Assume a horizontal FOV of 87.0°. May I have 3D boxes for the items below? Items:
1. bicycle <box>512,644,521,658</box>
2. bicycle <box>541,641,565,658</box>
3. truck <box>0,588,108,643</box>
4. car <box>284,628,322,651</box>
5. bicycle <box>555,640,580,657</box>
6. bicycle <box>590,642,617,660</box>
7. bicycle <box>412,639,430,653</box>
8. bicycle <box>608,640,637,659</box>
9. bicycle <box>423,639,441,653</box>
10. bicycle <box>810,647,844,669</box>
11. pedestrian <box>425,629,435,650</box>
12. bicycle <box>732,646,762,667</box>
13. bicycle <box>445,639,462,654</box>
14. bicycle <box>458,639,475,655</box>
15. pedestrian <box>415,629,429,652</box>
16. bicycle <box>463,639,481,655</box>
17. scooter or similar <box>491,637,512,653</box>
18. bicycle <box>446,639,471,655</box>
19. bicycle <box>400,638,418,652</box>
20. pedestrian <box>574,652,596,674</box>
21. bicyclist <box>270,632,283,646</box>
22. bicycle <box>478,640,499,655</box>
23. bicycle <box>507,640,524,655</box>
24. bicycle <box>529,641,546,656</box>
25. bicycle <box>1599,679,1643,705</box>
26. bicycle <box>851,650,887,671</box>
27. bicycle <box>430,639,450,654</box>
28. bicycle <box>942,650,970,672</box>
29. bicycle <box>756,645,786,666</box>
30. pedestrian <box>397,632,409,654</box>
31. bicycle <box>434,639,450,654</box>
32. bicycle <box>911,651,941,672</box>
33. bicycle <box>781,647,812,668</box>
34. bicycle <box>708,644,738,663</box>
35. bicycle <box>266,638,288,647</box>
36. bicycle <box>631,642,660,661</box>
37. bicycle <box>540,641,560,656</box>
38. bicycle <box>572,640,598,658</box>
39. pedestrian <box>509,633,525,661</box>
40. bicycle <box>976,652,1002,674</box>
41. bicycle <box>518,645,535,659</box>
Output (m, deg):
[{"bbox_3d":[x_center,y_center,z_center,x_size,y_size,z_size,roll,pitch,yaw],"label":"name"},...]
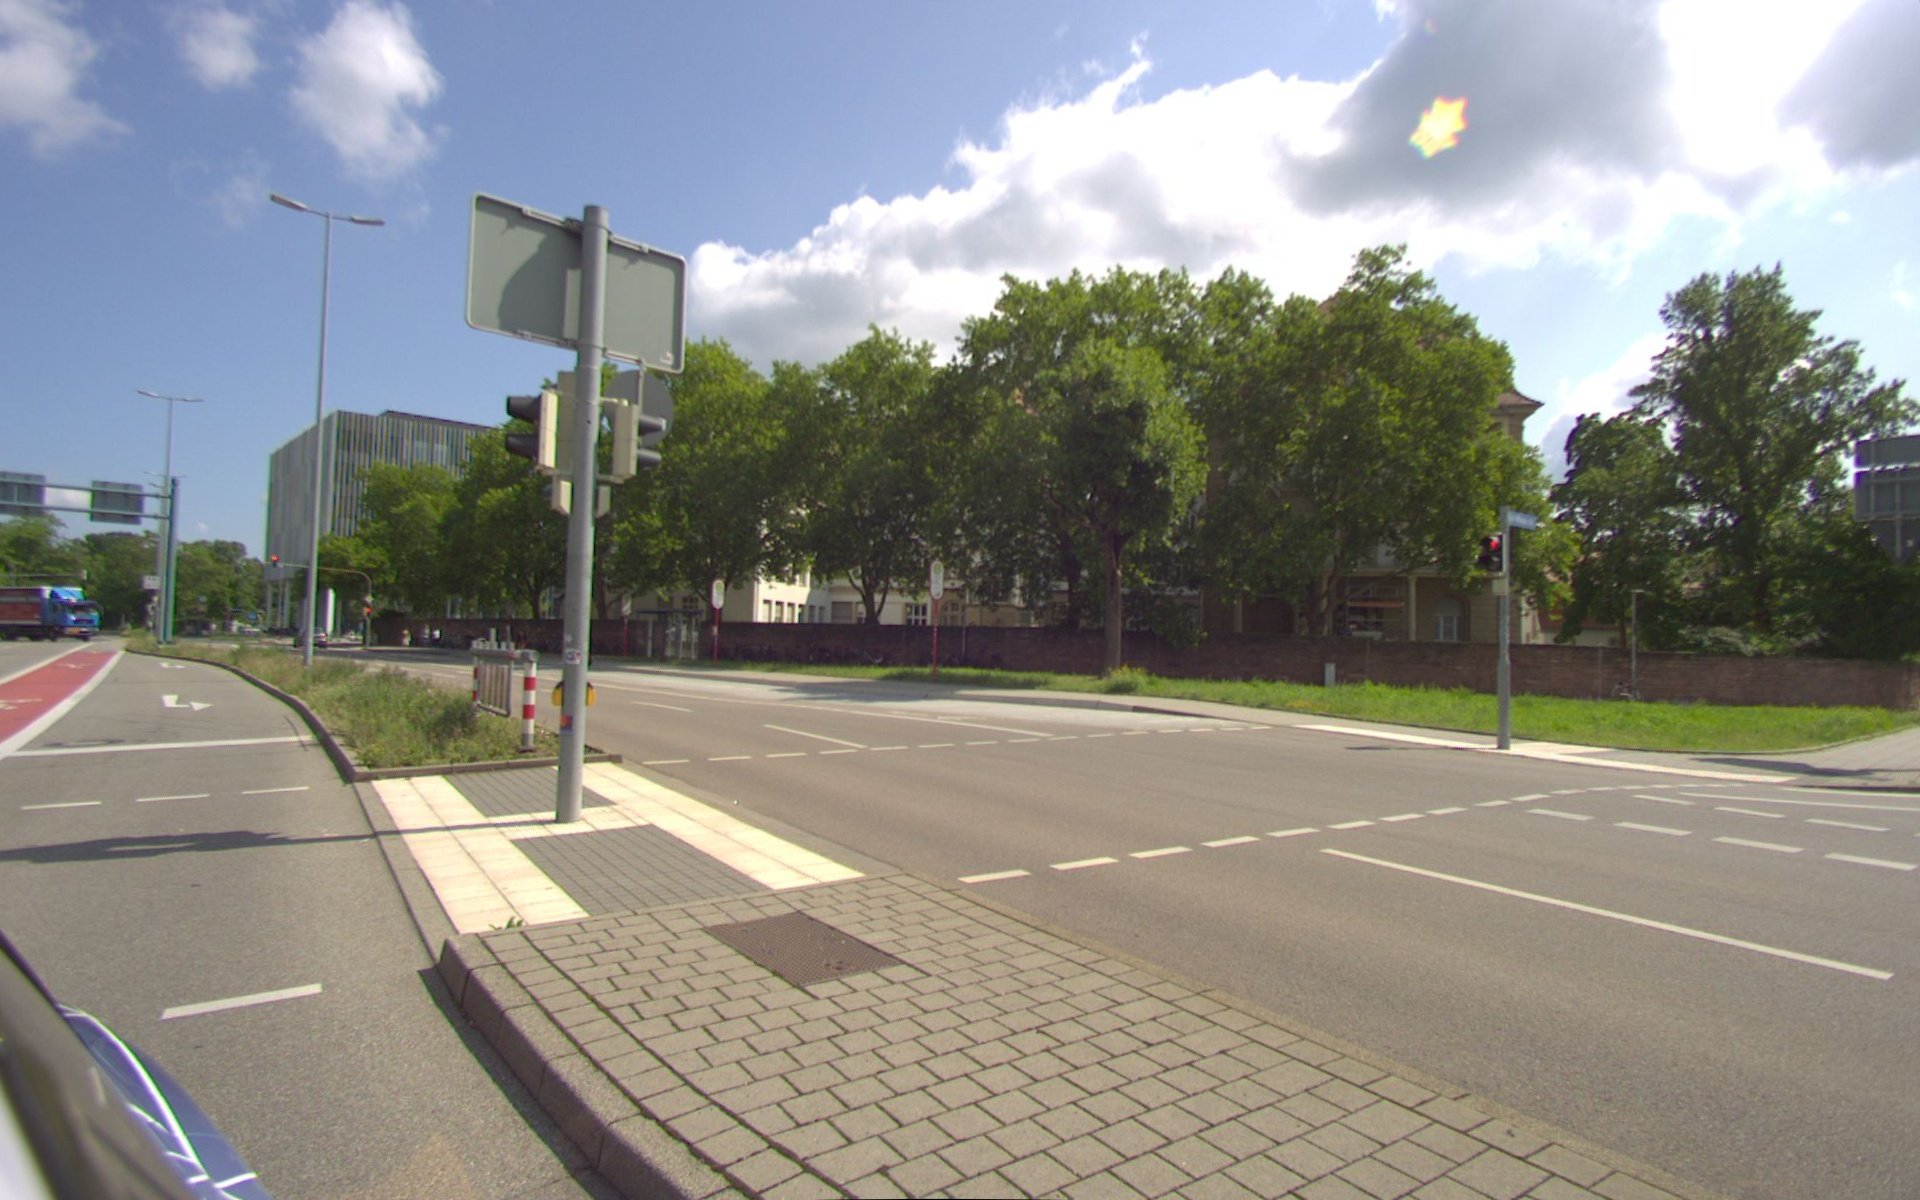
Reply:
[{"bbox_3d":[-29.470,3.389,67.254,0.361,0.962,1.629,3,-3,-31],"label":"bicycle"},{"bbox_3d":[-26.196,3.184,65.133,1.752,1.081,0.577,-1,-3,35],"label":"bicycle"},{"bbox_3d":[-66.891,1.136,73.572,9.100,3.828,2.654,1,-3,14],"label":"truck"},{"bbox_3d":[-45.709,2.749,70.395,1.679,1.456,4.152,5,-5,-40],"label":"car"},{"bbox_3d":[-25.061,3.091,64.569,1.752,1.081,0.577,-1,-3,35],"label":"bicycle"},{"bbox_3d":[-21.960,3.138,62.349,1.748,1.081,0.578,-1,-3,29],"label":"bicycle"},{"bbox_3d":[-42.395,3.594,79.560,1.880,1.056,0.623,-1,-4,41],"label":"bicycle"},{"bbox_3d":[-20.431,2.990,61.284,1.748,1.081,0.578,-1,-3,29],"label":"bicycle"},{"bbox_3d":[-40.858,3.540,78.271,1.880,1.056,0.558,-1,-4,41],"label":"bicycle"},{"bbox_3d":[-7.010,3.054,53.265,1.865,1.081,0.577,-1,-3,34],"label":"bicycle"},{"bbox_3d":[-39.683,2.976,75.749,0.470,1.552,0.617,4,-4,-45],"label":"pedestrian"},{"bbox_3d":[-11.781,3.117,55.932,1.624,1.081,0.578,-1,-3,29],"label":"bicycle"},{"bbox_3d":[-37.537,3.424,75.002,1.880,1.056,0.366,-1,-4,41],"label":"bicycle"},{"bbox_3d":[-35.160,3.345,72.080,1.880,1.056,0.369,-1,-4,41],"label":"bicycle"},{"bbox_3d":[-39.965,3.031,75.161,0.732,1.664,0.633,-2,-4,45],"label":"pedestrian"},{"bbox_3d":[-34.887,3.364,72.377,1.880,1.056,0.389,-1,-4,41],"label":"bicycle"},{"bbox_3d":[-31.732,3.132,70.044,1.880,1.056,0.574,-1,-4,41],"label":"scooter or similar"},{"bbox_3d":[-36.462,3.414,73.569,1.871,1.056,0.588,0,-3,26],"label":"bicycle"},{"bbox_3d":[-44.343,3.627,81.412,1.880,1.056,0.623,-1,-4,41],"label":"bicycle"},{"bbox_3d":[-16.609,2.777,44.802,0.685,0.970,0.744,3,-3,-41],"label":"pedestrian"},{"bbox_3d":[-70.473,4.041,104.358,0.932,1.475,0.633,1,-3,-8],"label":"bicyclist"},{"bbox_3d":[-33.203,3.354,71.258,1.880,1.056,0.574,-1,-4,41],"label":"bicycle"},{"bbox_3d":[-30.261,3.247,68.948,1.399,0.962,0.363,-1,-3,35],"label":"bicycle"},{"bbox_3d":[-27.998,3.238,67.067,1.399,0.962,0.363,-1,-3,35],"label":"bicycle"},{"bbox_3d":[27.054,3.772,41.455,1.503,0.999,0.394,2,-3,3],"label":"bicycle"},{"bbox_3d":[-4.713,3.114,52.235,1.956,1.019,0.467,-1,-3,30],"label":"bicycle"},{"bbox_3d":[-38.571,3.445,75.046,1.880,1.056,0.585,-1,-4,41],"label":"bicycle"},{"bbox_3d":[-0.212,3.003,50.016,1.365,1.019,0.388,-1,-3,30],"label":"bicycle"},{"bbox_3d":[-10.272,3.022,55.050,1.624,1.081,0.578,-1,-3,29],"label":"bicycle"},{"bbox_3d":[-43.127,3.327,78.377,0.554,1.664,0.727,4,-4,-45],"label":"pedestrian"},{"bbox_3d":[-39.118,3.496,76.361,1.880,1.056,0.366,-1,-4,41],"label":"bicycle"},{"bbox_3d":[-1.709,3.059,50.700,1.450,1.019,0.467,-1,-3,30],"label":"bicycle"},{"bbox_3d":[-8.781,3.075,54.230,1.624,1.081,0.578,-1,-3,29],"label":"bicycle"},{"bbox_3d":[-13.295,3.001,56.786,1.624,1.081,0.578,-1,-3,29],"label":"bicycle"},{"bbox_3d":[-70.408,4.371,104.345,1.747,0.899,0.639,1,-3,-8],"label":"bicycle"},{"bbox_3d":[-18.670,3.044,60.121,1.748,1.081,0.578,-1,-3,29],"label":"bicycle"},{"bbox_3d":[-26.781,3.179,66.089,1.623,0.962,0.367,-1,-3,35],"label":"bicycle"},{"bbox_3d":[-23.506,3.057,63.475,1.751,1.081,0.577,-1,-3,34],"label":"bicycle"},{"bbox_3d":[-25.723,2.714,58.804,0.647,1.622,0.746,2,-3,-38],"label":"pedestrian"},{"bbox_3d":[1.427,3.056,49.273,1.249,1.019,0.350,-1,-3,30],"label":"bicycle"},{"bbox_3d":[-29.138,3.488,67.997,1.399,0.962,0.363,-1,-3,35],"label":"bicycle"}]
